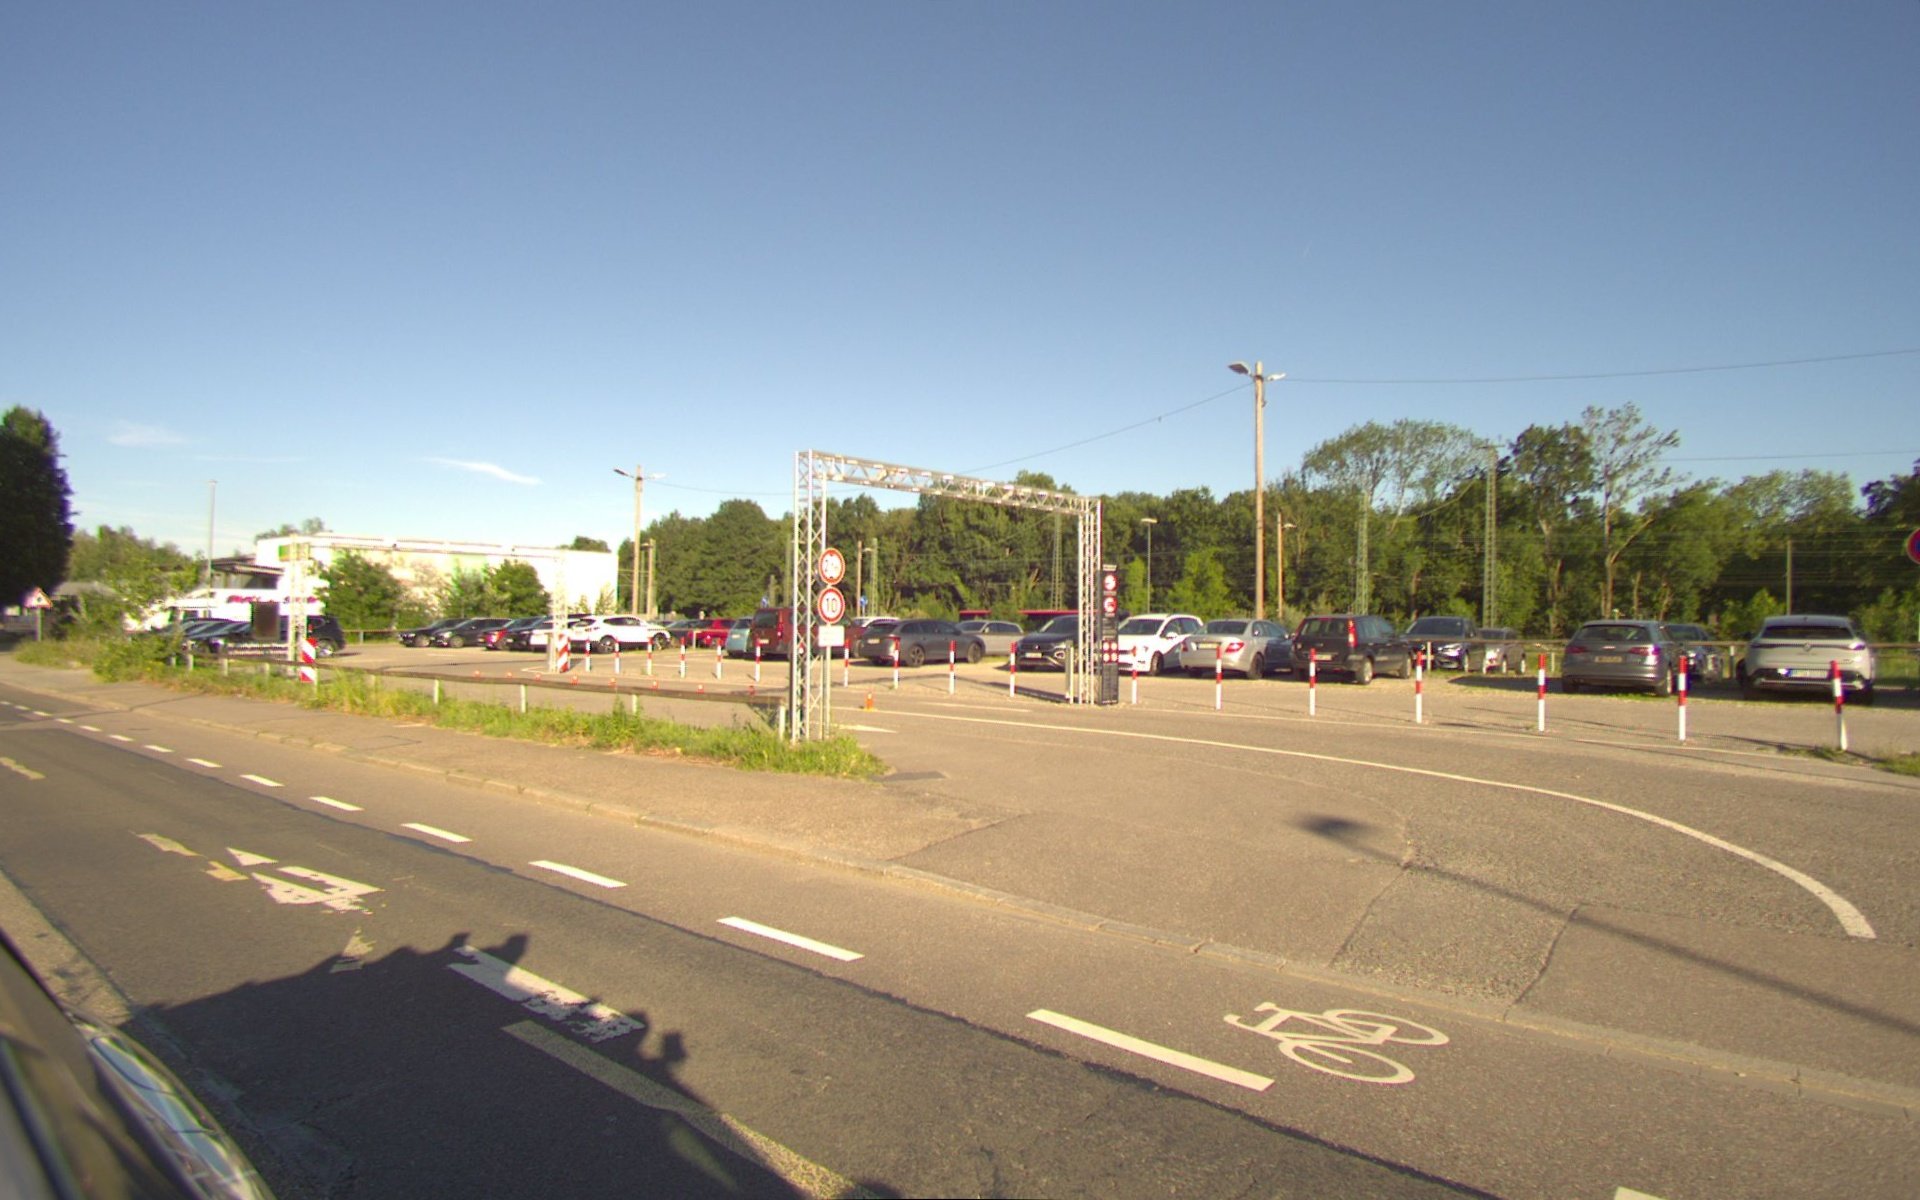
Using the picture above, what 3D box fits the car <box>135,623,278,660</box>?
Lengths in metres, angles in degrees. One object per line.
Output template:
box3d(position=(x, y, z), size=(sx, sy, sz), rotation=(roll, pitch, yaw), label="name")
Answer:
box3d(position=(-31.029, 1.692, 41.775), size=(2.047, 1.473, 4.382), rotation=(-1, -2, 40), label="car")

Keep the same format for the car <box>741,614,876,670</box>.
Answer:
box3d(position=(-5.166, 1.418, 34.959), size=(1.856, 1.819, 4.529), rotation=(-2, -2, 40), label="car")

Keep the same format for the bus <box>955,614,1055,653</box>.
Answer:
box3d(position=(2.844, 2.145, 64.720), size=(6.201, 2.366, 2.512), rotation=(-1, -3, 41), label="bus")

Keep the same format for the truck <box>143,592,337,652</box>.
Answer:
box3d(position=(-47.168, 1.418, 66.697), size=(2.772, 3.642, 10.000), rotation=(0, -1, 38), label="truck")

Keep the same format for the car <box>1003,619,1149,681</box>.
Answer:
box3d(position=(3.297, 1.332, 28.165), size=(1.856, 1.597, 4.529), rotation=(-2, -2, 40), label="car")

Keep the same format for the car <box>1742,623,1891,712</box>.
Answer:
box3d(position=(15.617, 1.149, 18.615), size=(1.876, 1.430, 4.279), rotation=(-2, -2, 38), label="car")

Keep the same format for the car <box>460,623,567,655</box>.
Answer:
box3d(position=(-20.876, 1.808, 47.468), size=(2.044, 1.408, 4.123), rotation=(-1, -2, 36), label="car")

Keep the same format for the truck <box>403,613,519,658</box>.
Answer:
box3d(position=(-32.723, 2.331, 66.566), size=(2.313, 2.829, 6.432), rotation=(-1, -3, 38), label="truck")

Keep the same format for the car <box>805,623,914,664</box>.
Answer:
box3d(position=(-4.008, 1.708, 40.956), size=(1.856, 1.557, 4.322), rotation=(-2, -2, 40), label="car")

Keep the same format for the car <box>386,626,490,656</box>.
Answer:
box3d(position=(-27.022, 2.116, 52.501), size=(2.044, 1.476, 4.363), rotation=(-1, -2, 36), label="car")

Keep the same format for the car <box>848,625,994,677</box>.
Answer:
box3d(position=(-1.154, 1.524, 31.611), size=(1.990, 1.492, 4.526), rotation=(-2, -2, 42), label="car")

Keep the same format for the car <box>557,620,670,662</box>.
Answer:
box3d(position=(-14.524, 1.689, 42.646), size=(1.963, 1.674, 4.122), rotation=(-1, -2, 36), label="car")

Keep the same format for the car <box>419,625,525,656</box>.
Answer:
box3d(position=(-24.609, 2.042, 51.145), size=(2.044, 1.476, 4.363), rotation=(-1, -2, 36), label="car")

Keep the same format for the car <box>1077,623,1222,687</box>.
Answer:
box3d(position=(5.047, 1.370, 26.563), size=(1.877, 1.535, 4.278), rotation=(-2, -2, 40), label="car")

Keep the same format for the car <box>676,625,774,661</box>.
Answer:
box3d(position=(-10.807, 1.961, 46.755), size=(1.963, 1.541, 4.122), rotation=(-1, -2, 36), label="car")

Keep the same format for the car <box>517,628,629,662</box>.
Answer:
box3d(position=(-16.725, 1.915, 43.882), size=(2.044, 1.408, 4.123), rotation=(-1, -2, 36), label="car")

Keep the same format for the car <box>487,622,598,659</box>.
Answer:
box3d(position=(-18.655, 1.792, 45.382), size=(2.044, 1.590, 4.123), rotation=(-1, -2, 36), label="car")

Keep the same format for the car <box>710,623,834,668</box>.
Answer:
box3d(position=(-6.837, 1.628, 37.140), size=(1.856, 1.557, 4.322), rotation=(-2, -2, 40), label="car")

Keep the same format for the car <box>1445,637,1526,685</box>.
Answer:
box3d(position=(18.496, 2.101, 35.573), size=(1.752, 1.565, 3.795), rotation=(-2, -2, 39), label="car")

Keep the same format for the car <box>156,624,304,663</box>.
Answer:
box3d(position=(-28.948, 1.694, 40.232), size=(2.047, 1.473, 4.382), rotation=(-1, -2, 40), label="car")

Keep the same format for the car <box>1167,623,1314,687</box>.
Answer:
box3d(position=(6.942, 1.285, 24.811), size=(1.877, 1.404, 4.278), rotation=(-2, -2, 40), label="car")

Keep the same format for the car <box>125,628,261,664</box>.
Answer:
box3d(position=(-33.324, 1.972, 44.076), size=(2.047, 1.473, 4.382), rotation=(-1, -2, 40), label="car")

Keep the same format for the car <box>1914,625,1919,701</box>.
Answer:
box3d(position=(17.109, 1.096, 16.484), size=(1.876, 1.387, 4.279), rotation=(-2, -2, 38), label="car")

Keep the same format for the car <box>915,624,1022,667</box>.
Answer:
box3d(position=(0.352, 1.639, 36.893), size=(1.892, 1.477, 3.948), rotation=(-2, -2, 38), label="car")

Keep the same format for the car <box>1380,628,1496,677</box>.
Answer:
box3d(position=(12.693, 1.339, 26.760), size=(1.876, 1.197, 3.844), rotation=(-2, -2, 39), label="car")

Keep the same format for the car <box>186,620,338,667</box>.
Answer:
box3d(position=(-26.498, 1.621, 38.537), size=(2.047, 1.683, 4.382), rotation=(-1, -2, 40), label="car")

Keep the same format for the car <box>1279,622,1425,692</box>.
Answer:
box3d(position=(9.197, 1.260, 23.541), size=(1.877, 1.474, 4.278), rotation=(-2, -2, 40), label="car")

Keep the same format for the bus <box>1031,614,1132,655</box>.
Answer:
box3d(position=(7.246, 2.053, 60.841), size=(5.586, 2.366, 2.513), rotation=(-1, -3, 41), label="bus")

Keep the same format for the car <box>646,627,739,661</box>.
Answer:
box3d(position=(-12.675, 2.068, 48.120), size=(1.910, 1.561, 3.950), rotation=(-1, -2, 37), label="car")

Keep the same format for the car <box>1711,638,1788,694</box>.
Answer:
box3d(position=(24.417, 1.977, 31.252), size=(1.752, 1.565, 3.685), rotation=(-2, -2, 39), label="car")

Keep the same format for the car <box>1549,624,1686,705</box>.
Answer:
box3d(position=(13.193, 1.203, 20.187), size=(1.876, 1.430, 4.279), rotation=(-2, -2, 38), label="car")
